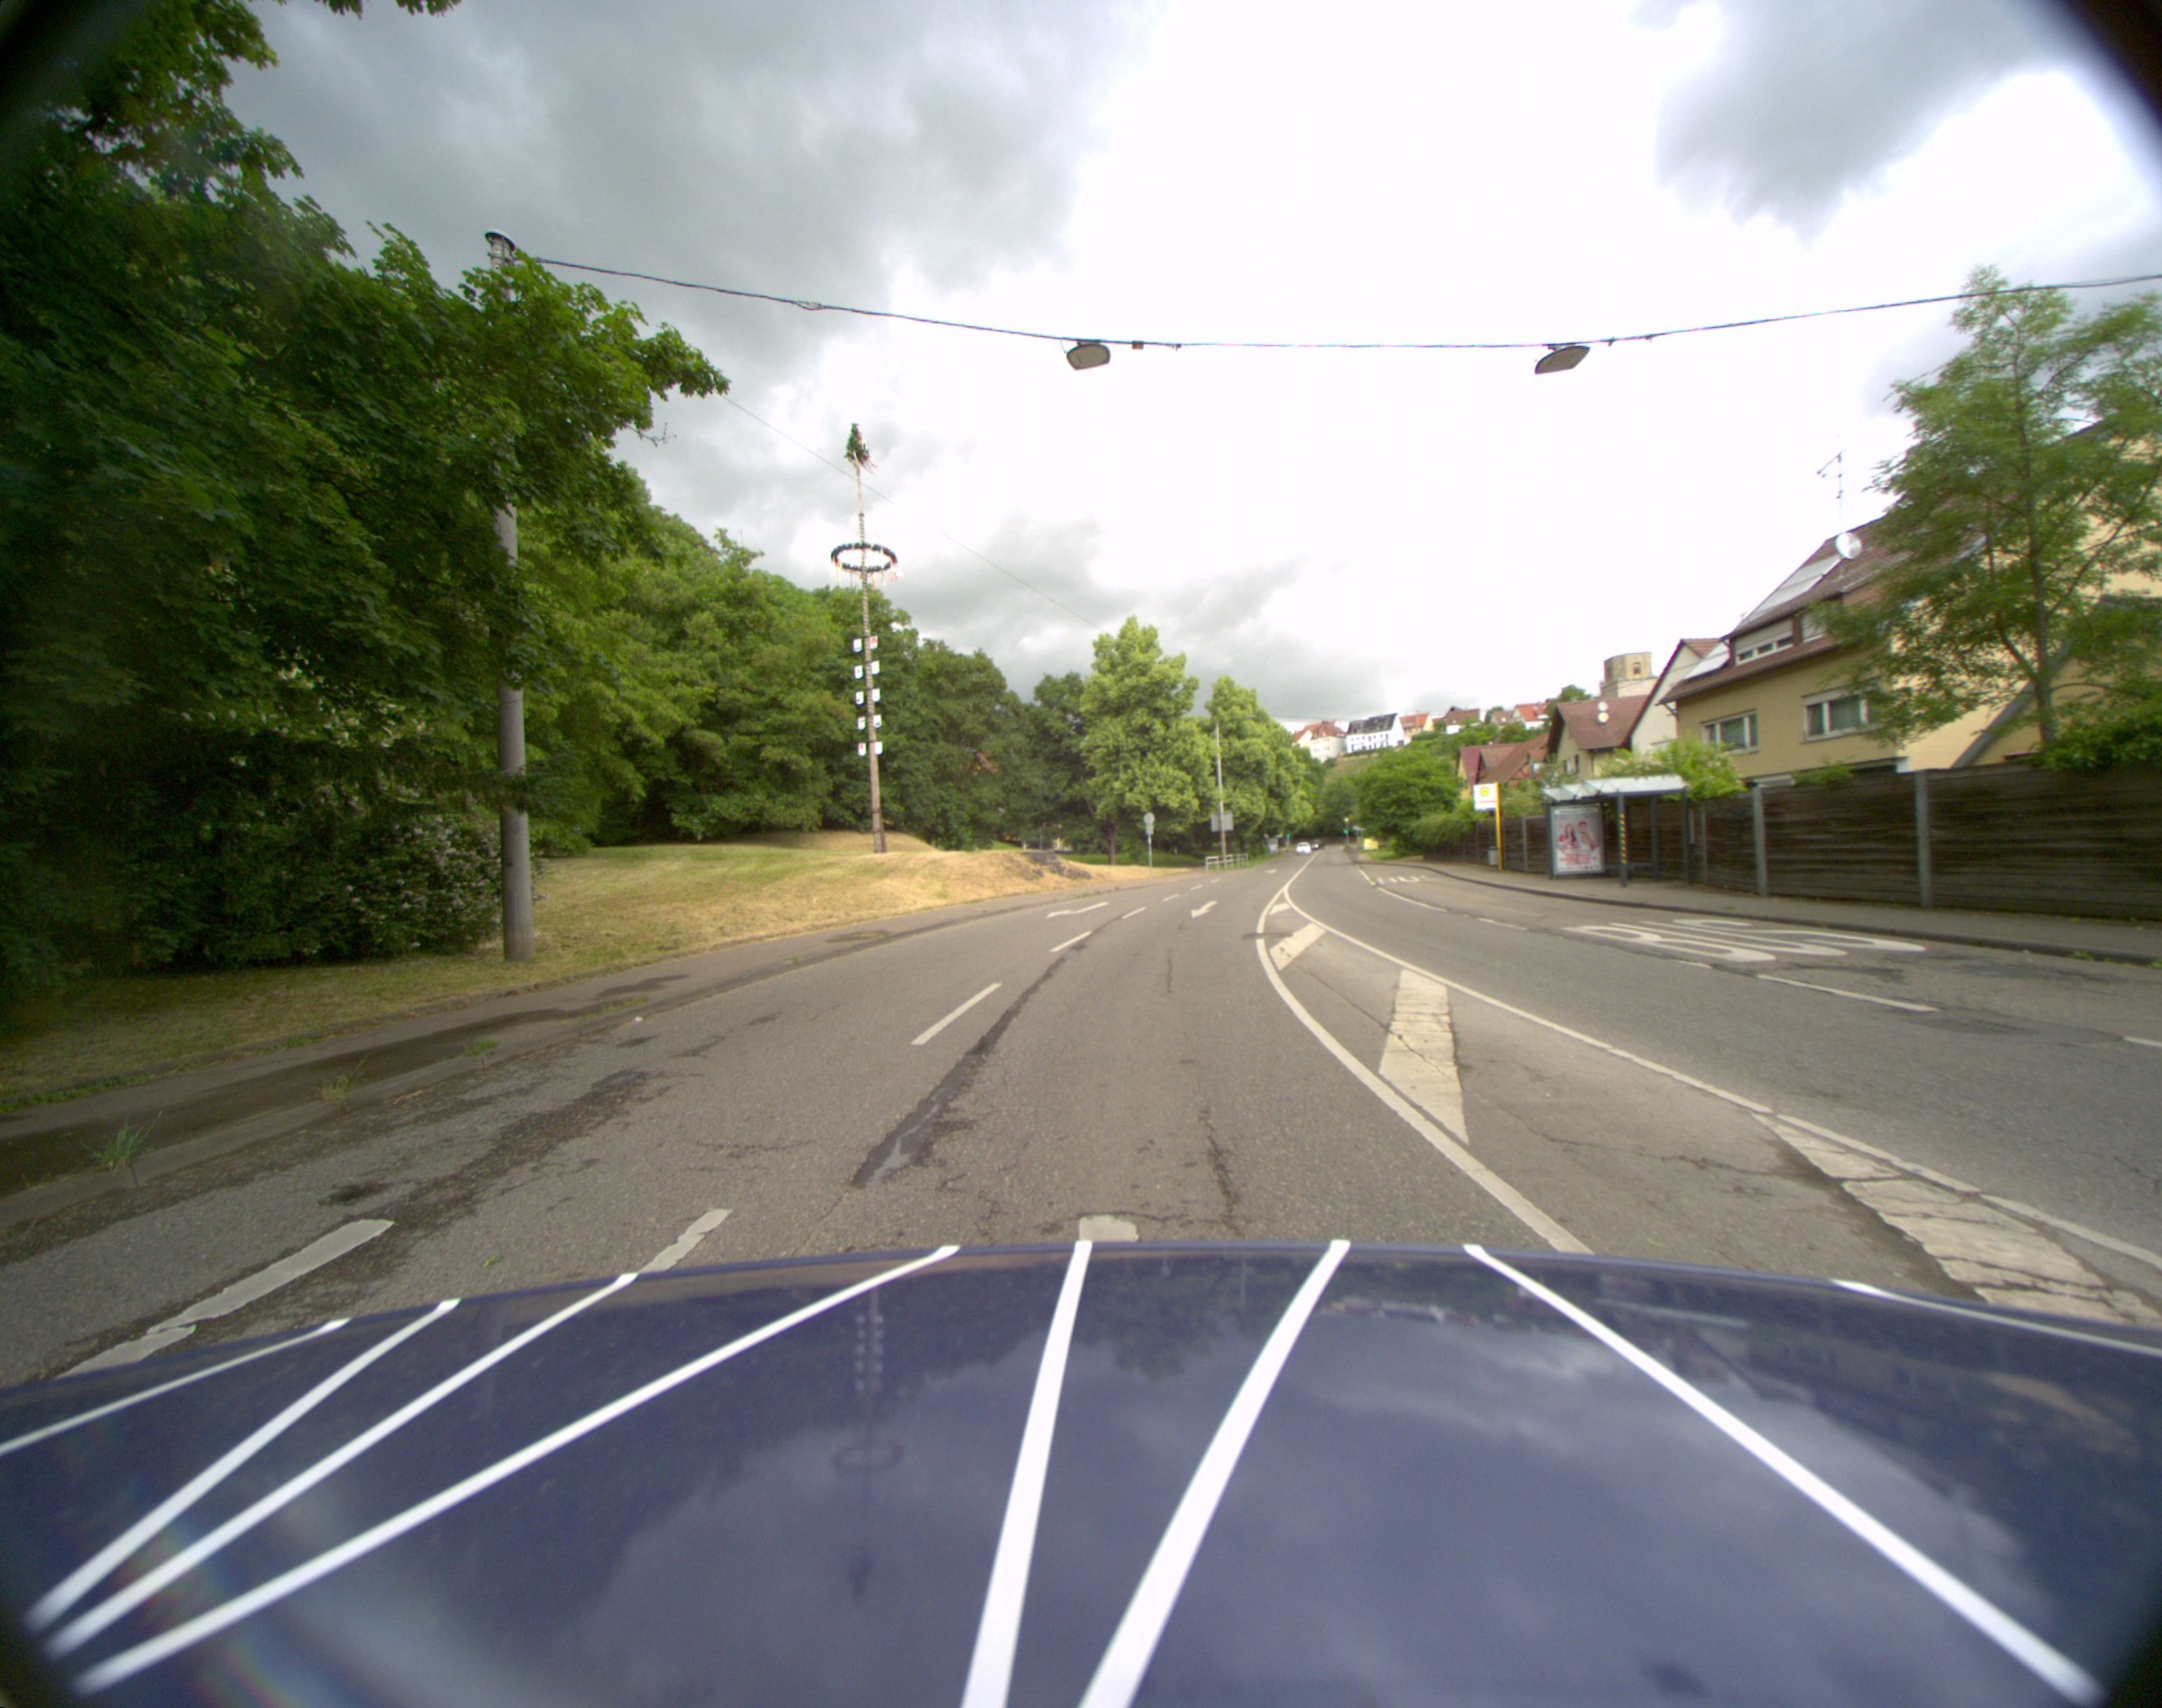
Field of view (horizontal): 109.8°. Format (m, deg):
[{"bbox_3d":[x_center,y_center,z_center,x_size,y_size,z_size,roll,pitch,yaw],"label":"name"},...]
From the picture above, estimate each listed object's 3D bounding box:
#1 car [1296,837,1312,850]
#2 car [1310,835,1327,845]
[{"bbox_3d":[27.896,-1.270,94.931,1.761,1.516,3.688,-2,1,19],"label":"car"},{"bbox_3d":[37.367,-2.222,119.632,1.760,1.575,3.689,-2,1,29],"label":"car"}]
